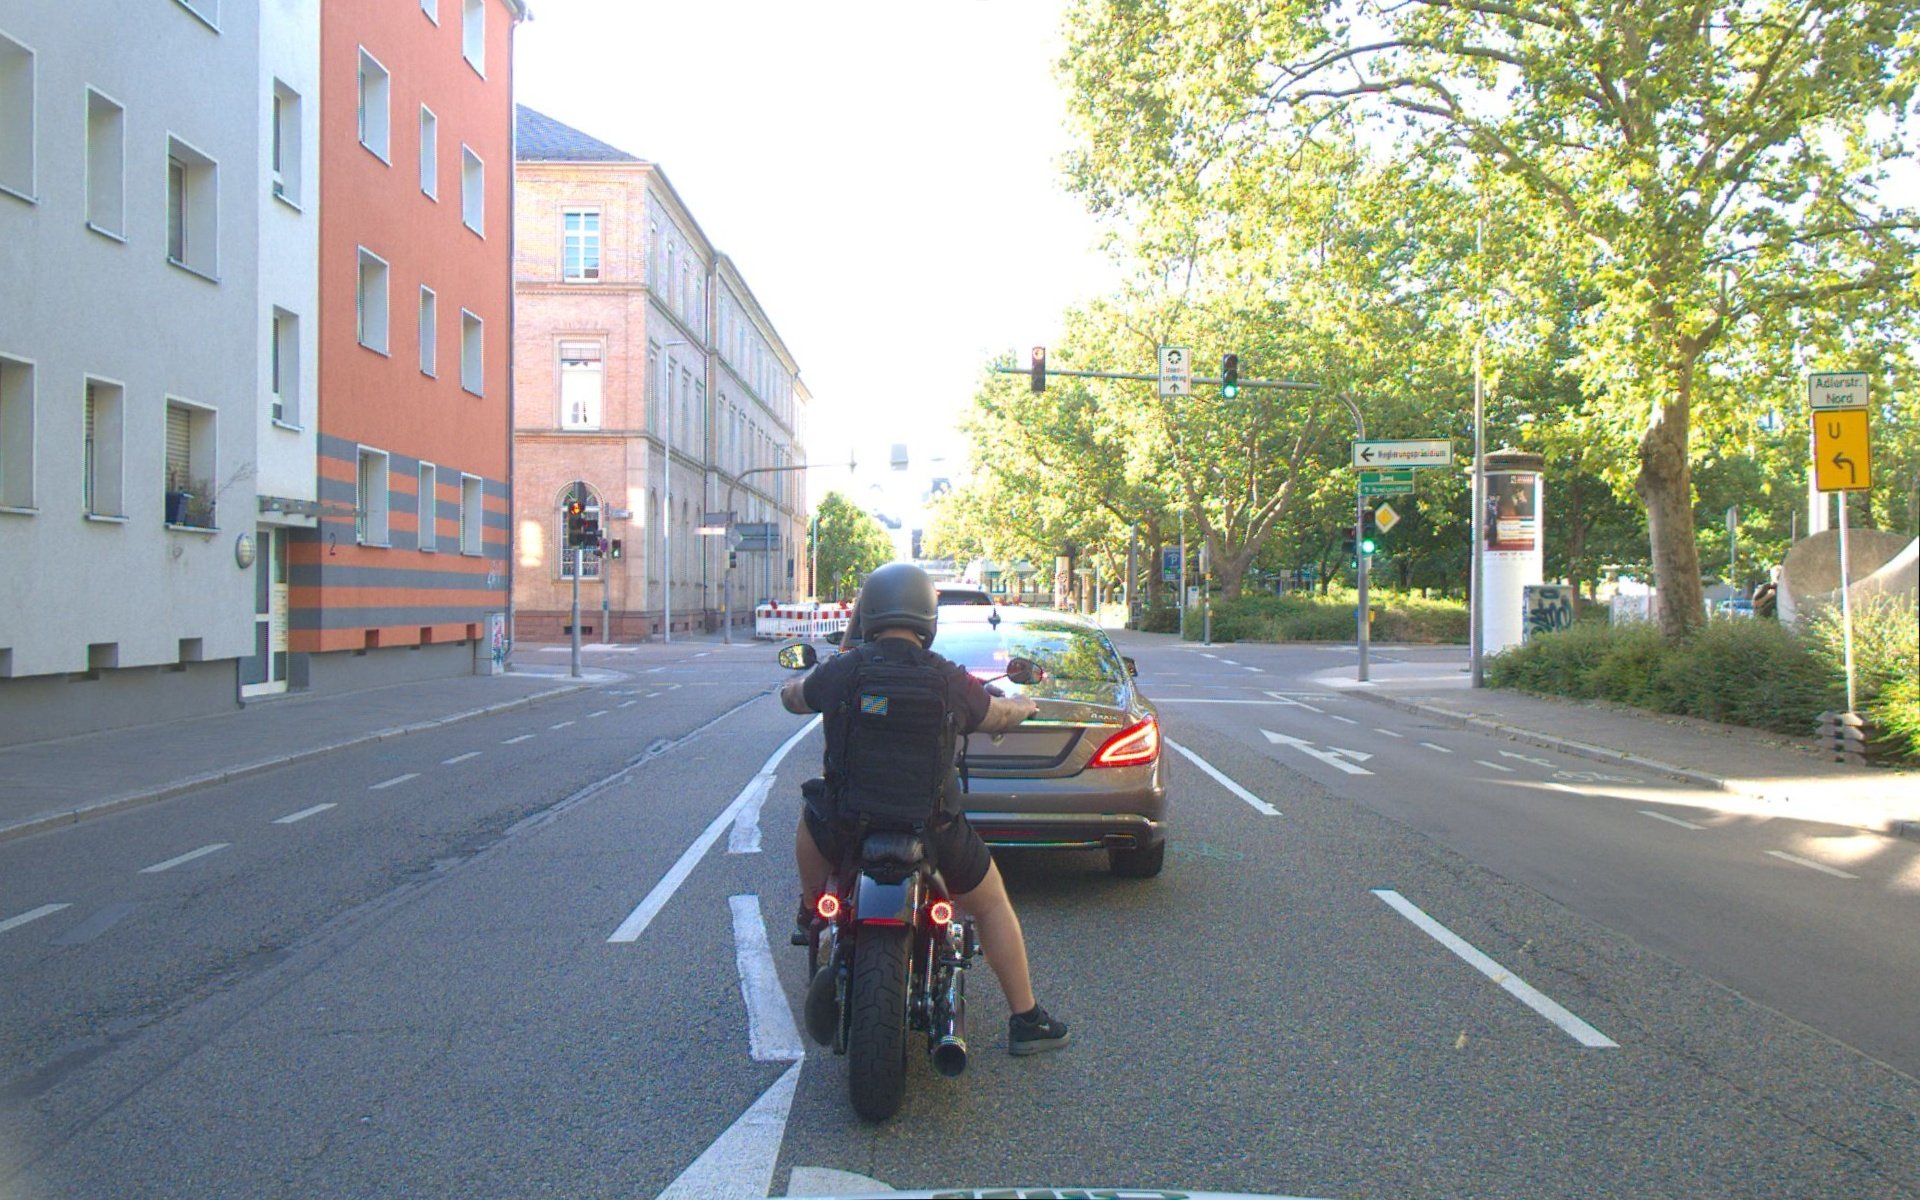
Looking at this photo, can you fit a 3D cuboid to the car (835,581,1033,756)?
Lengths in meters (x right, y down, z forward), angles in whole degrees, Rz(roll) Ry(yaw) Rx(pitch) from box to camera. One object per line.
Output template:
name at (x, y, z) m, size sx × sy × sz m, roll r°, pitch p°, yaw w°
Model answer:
car at (-0.343, 0.608, 16.755) m, size 1.777 × 1.563 × 3.846 m, roll 0°, pitch 0°, yaw -3°

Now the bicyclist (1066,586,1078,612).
bicyclist at (6.797, -0.056, 100.337) m, size 0.701 × 1.610 × 0.936 m, roll 1°, pitch 0°, yaw 4°

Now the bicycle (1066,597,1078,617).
bicycle at (6.784, 0.427, 100.281) m, size 0.701 × 1.193 × 2.177 m, roll 1°, pitch 0°, yaw 3°

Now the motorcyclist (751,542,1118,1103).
motorcyclist at (-0.079, 0.649, 5.256) m, size 1.039 × 1.610 × 0.908 m, roll 1°, pitch 0°, yaw -1°

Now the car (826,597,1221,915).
car at (0.184, 0.726, 9.917) m, size 1.864 × 1.466 × 4.285 m, roll 0°, pitch 0°, yaw -3°

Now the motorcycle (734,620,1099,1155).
motorcycle at (-0.129, 0.774, 5.525) m, size 0.942 × 1.380 × 2.319 m, roll 1°, pitch 0°, yaw -1°
